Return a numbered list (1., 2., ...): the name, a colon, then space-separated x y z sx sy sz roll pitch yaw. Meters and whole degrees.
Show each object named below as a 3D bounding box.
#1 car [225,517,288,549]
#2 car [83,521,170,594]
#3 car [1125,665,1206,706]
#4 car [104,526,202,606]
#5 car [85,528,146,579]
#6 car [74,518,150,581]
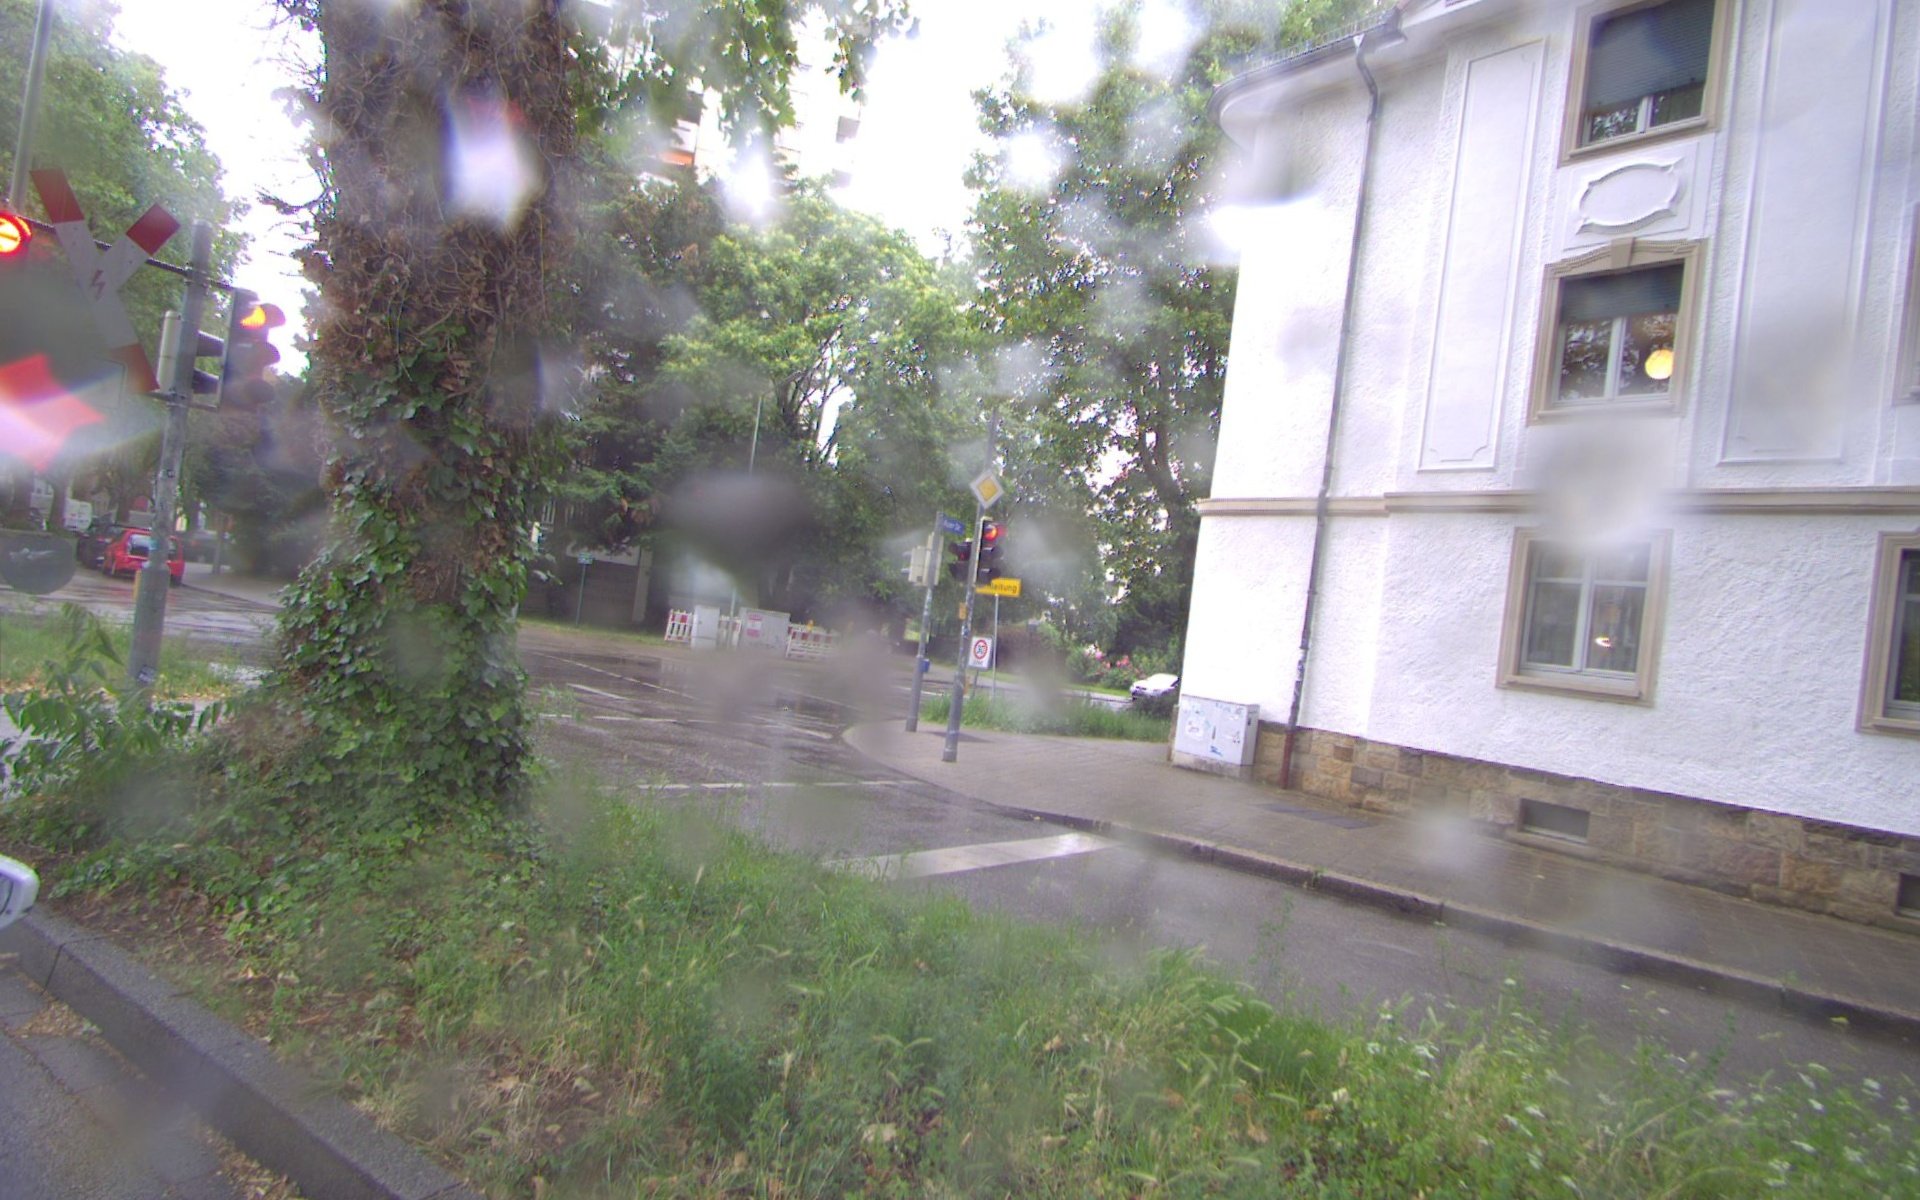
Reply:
1. car: -57.177 -5.458 81.827 3.969 2.038 1.689 7 0 -39
2. car: -27.925 -1.441 33.659 1.986 2.038 3.953 7 0 -42
3. car: 9.356 3.909 45.682 3.630 1.504 1.704 8 0 -43
4. car: -24.772 -1.073 30.826 1.986 2.038 3.953 7 0 -42
5. car: -40.692 -2.264 48.452 1.986 2.038 3.953 7 0 -42
6. car: -32.806 -1.977 38.870 1.986 2.038 3.953 7 0 -42
